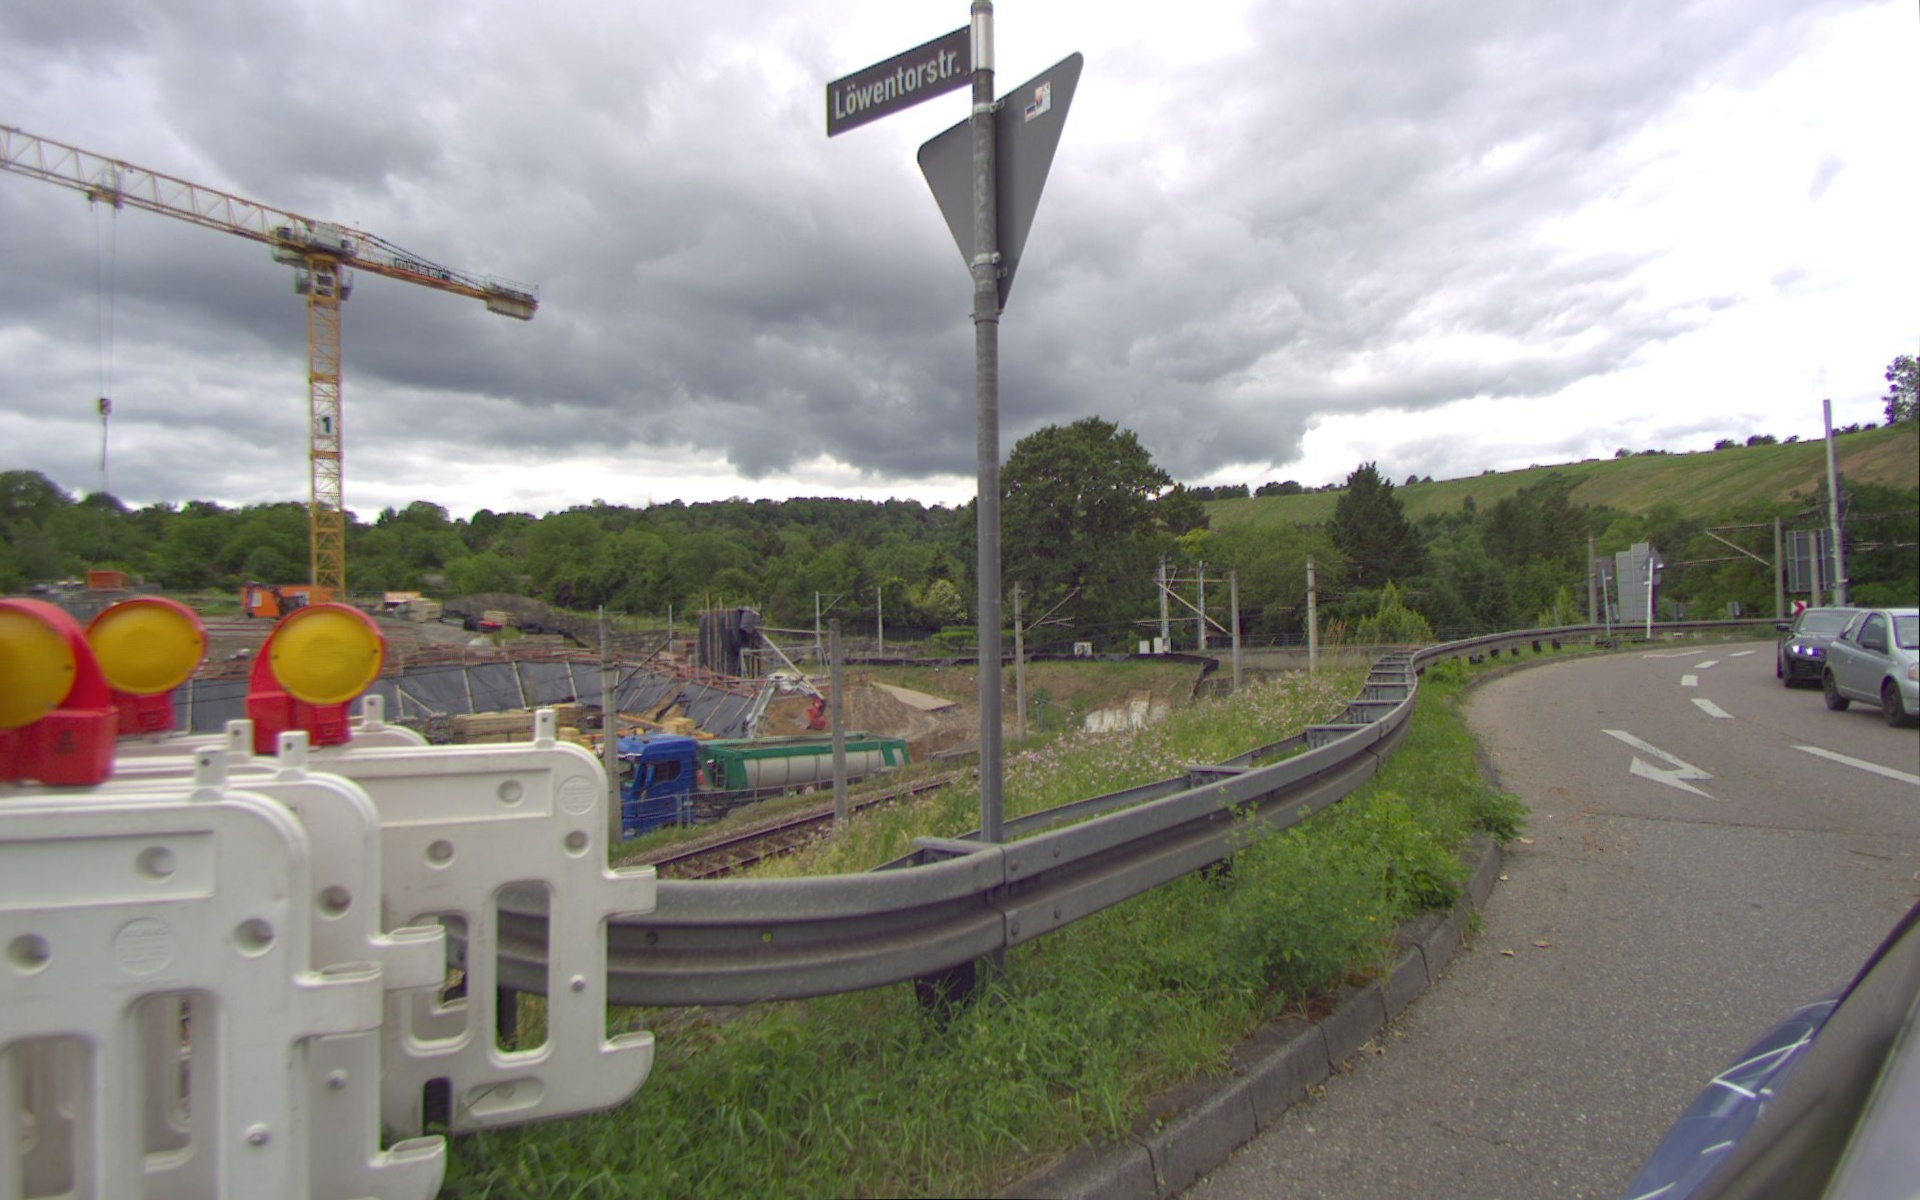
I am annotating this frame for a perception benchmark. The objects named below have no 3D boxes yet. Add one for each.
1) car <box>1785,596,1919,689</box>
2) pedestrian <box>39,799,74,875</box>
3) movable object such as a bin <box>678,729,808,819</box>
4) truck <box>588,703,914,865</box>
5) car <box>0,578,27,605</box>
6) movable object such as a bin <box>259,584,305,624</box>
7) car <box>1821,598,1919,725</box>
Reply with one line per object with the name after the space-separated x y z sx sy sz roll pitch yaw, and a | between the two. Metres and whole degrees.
16.915 0.697 19.176 1.869 1.495 4.896 1 1 38 | car
-26.797 7.007 30.013 0.692 2.040 0.801 -2 -4 -44 | pedestrian
-8.377 6.586 38.988 4.200 2.785 3.050 1 -2 -29 | movable object such as a bin
-6.713 5.931 34.881 2.837 3.944 11.433 -2 -3 44 | truck
-76.429 -0.643 80.418 1.958 2.039 4.007 -2 0 -22 | car
-54.427 0.334 81.273 2.743 3.116 1.844 -2 0 -25 | movable object such as a bin
12.944 0.725 13.284 1.657 1.488 3.595 -1 0 27 | car
